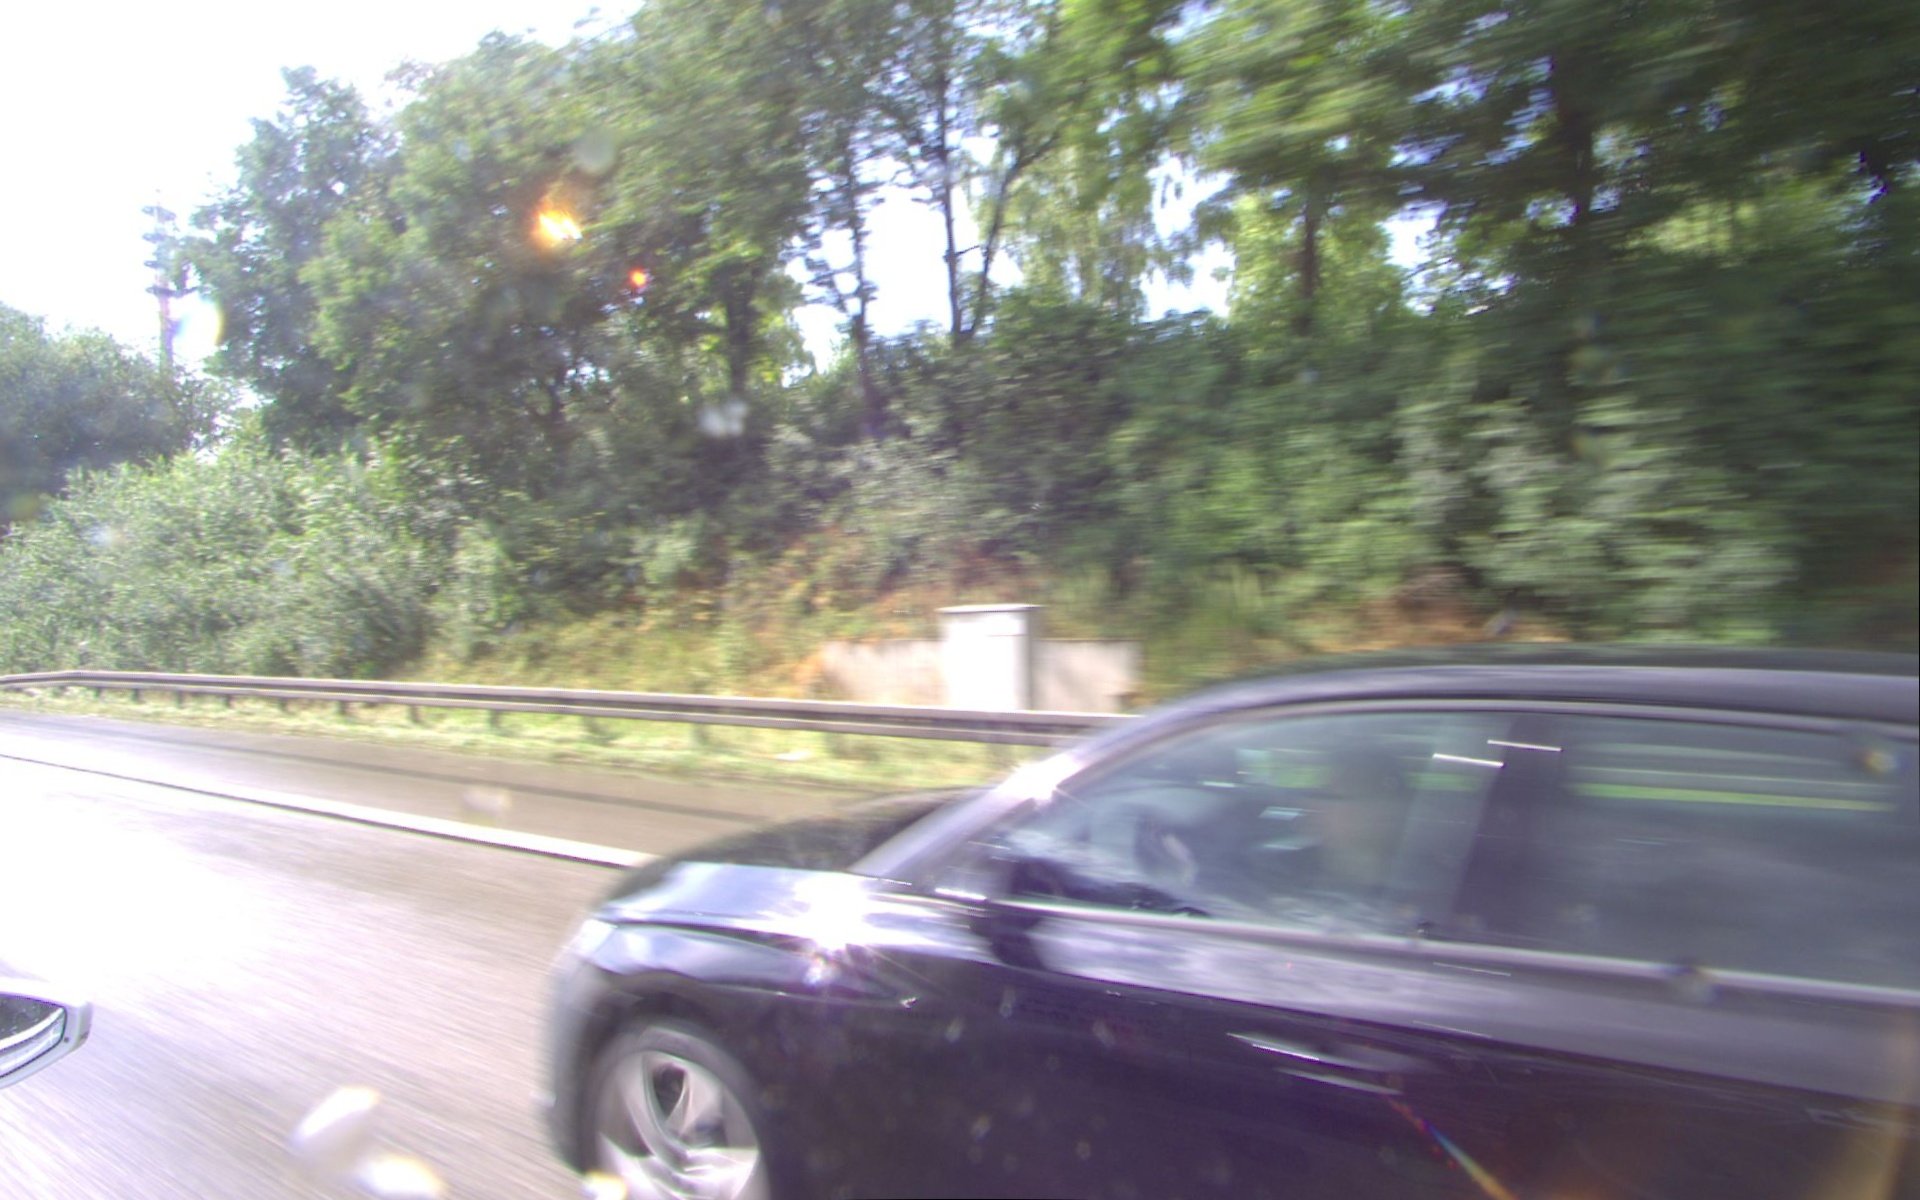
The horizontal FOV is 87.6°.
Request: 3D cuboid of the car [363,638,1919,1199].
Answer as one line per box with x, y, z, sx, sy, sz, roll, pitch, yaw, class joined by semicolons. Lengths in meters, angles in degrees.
0.619;0.810;2.383;4.306;1.414;1.752;-1;-1;32;car
